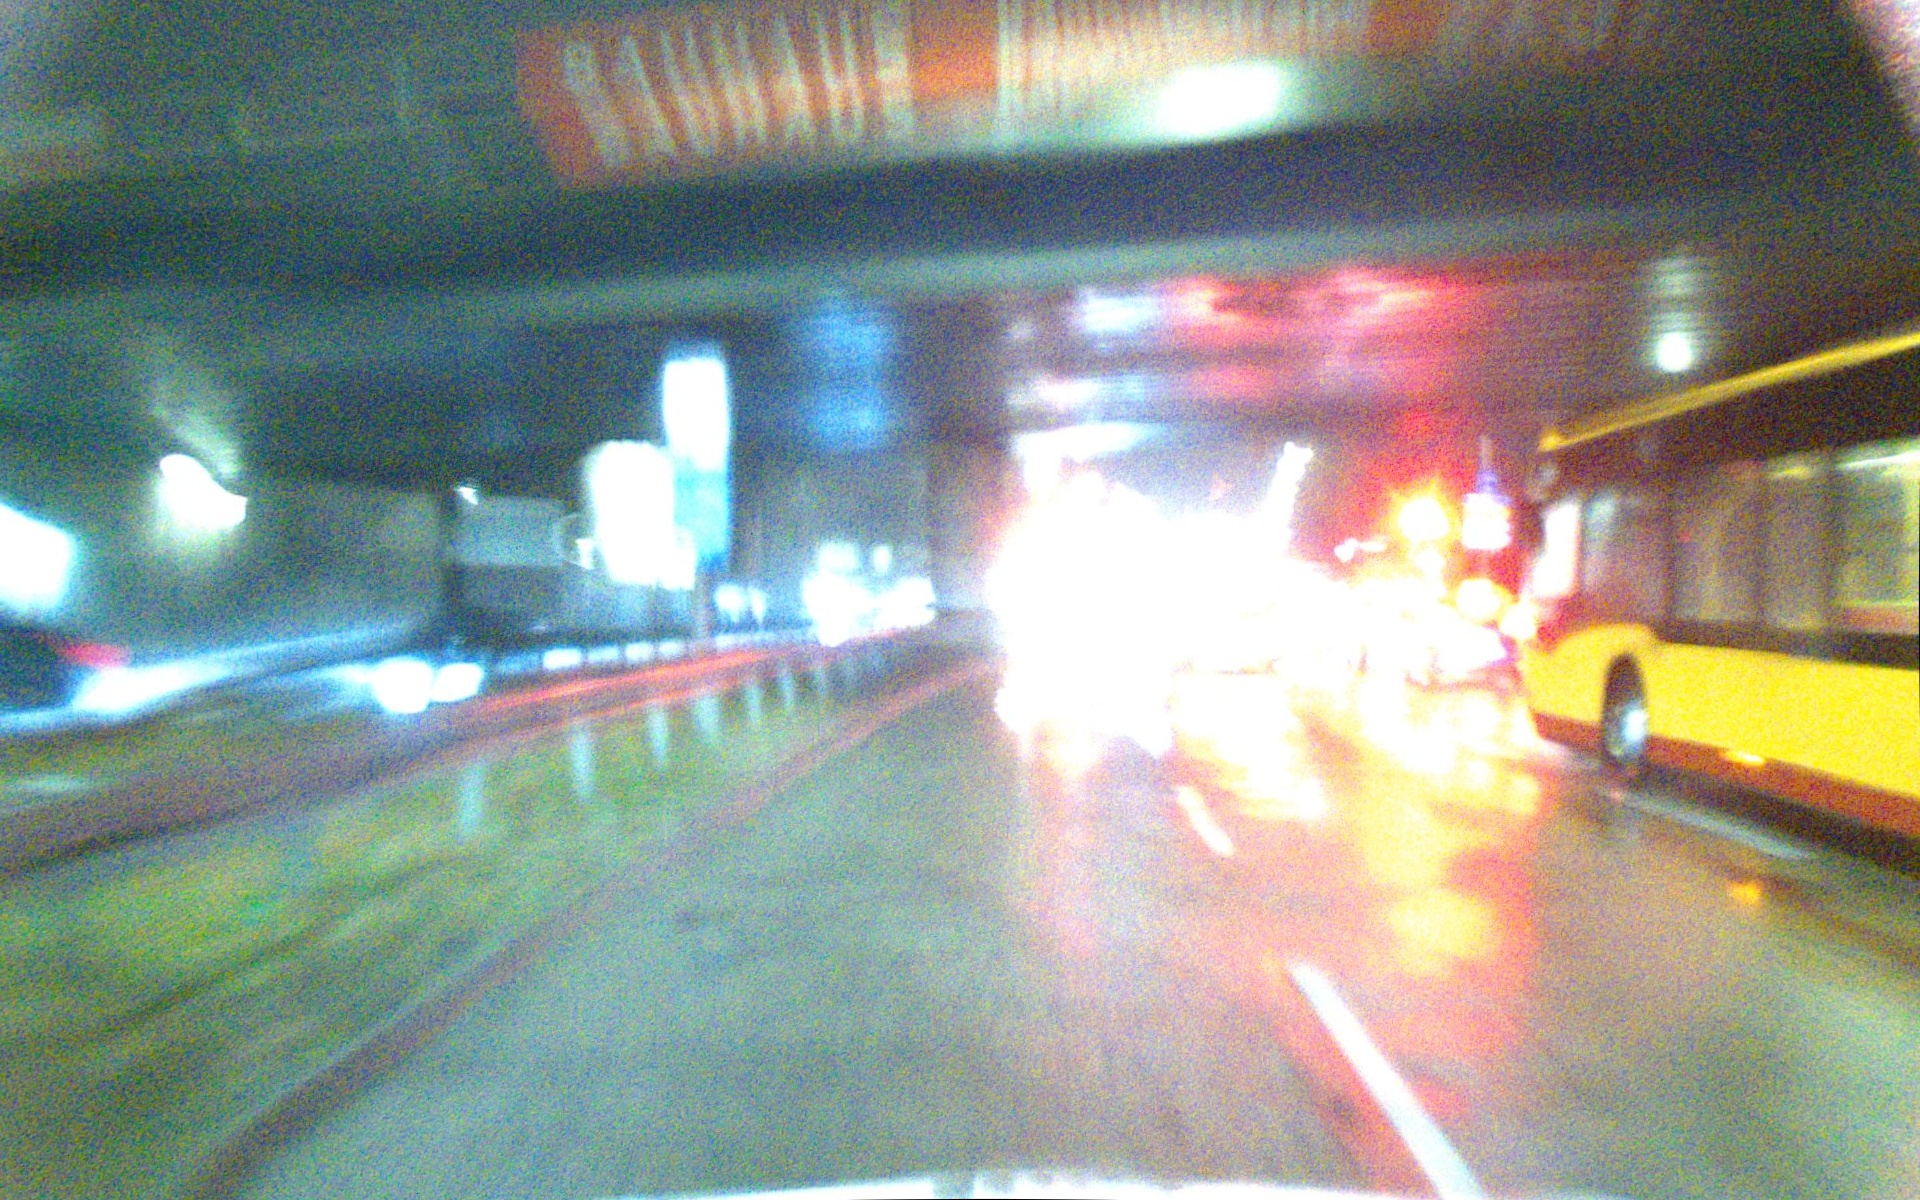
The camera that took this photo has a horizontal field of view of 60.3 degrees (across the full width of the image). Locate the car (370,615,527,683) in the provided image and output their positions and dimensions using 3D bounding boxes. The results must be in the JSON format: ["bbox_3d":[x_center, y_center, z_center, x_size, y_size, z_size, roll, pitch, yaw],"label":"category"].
[{"bbox_3d":[-10.833,1.011,35.333,1.816,1.311,4.133,-1,0,4],"label":"car"}]

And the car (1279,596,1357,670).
[{"bbox_3d":[8.838,0.785,40.601,1.749,1.713,4.003,-1,0,14],"label":"car"}]

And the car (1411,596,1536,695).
[{"bbox_3d":[8.524,0.715,27.715,1.738,1.528,4.003,-1,0,14],"label":"car"}]

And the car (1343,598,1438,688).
[{"bbox_3d":[8.723,0.825,33.662,1.749,1.713,4.003,-1,0,14],"label":"car"}]

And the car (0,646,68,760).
[{"bbox_3d":[-12.259,1.243,18.777,1.816,1.311,4.133,-1,0,4],"label":"car"}]

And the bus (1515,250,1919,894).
[{"bbox_3d":[6.432,-0.147,10.589,2.980,3.269,9.052,0,0,2],"label":"bus"}]

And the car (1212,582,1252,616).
[{"bbox_3d":[14.308,-0.033,86.835,1.749,1.713,4.003,-1,0,14],"label":"car"}]

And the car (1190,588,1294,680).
[{"bbox_3d":[5.662,0.636,32.891,1.749,1.713,4.003,-1,0,14],"label":"car"}]
